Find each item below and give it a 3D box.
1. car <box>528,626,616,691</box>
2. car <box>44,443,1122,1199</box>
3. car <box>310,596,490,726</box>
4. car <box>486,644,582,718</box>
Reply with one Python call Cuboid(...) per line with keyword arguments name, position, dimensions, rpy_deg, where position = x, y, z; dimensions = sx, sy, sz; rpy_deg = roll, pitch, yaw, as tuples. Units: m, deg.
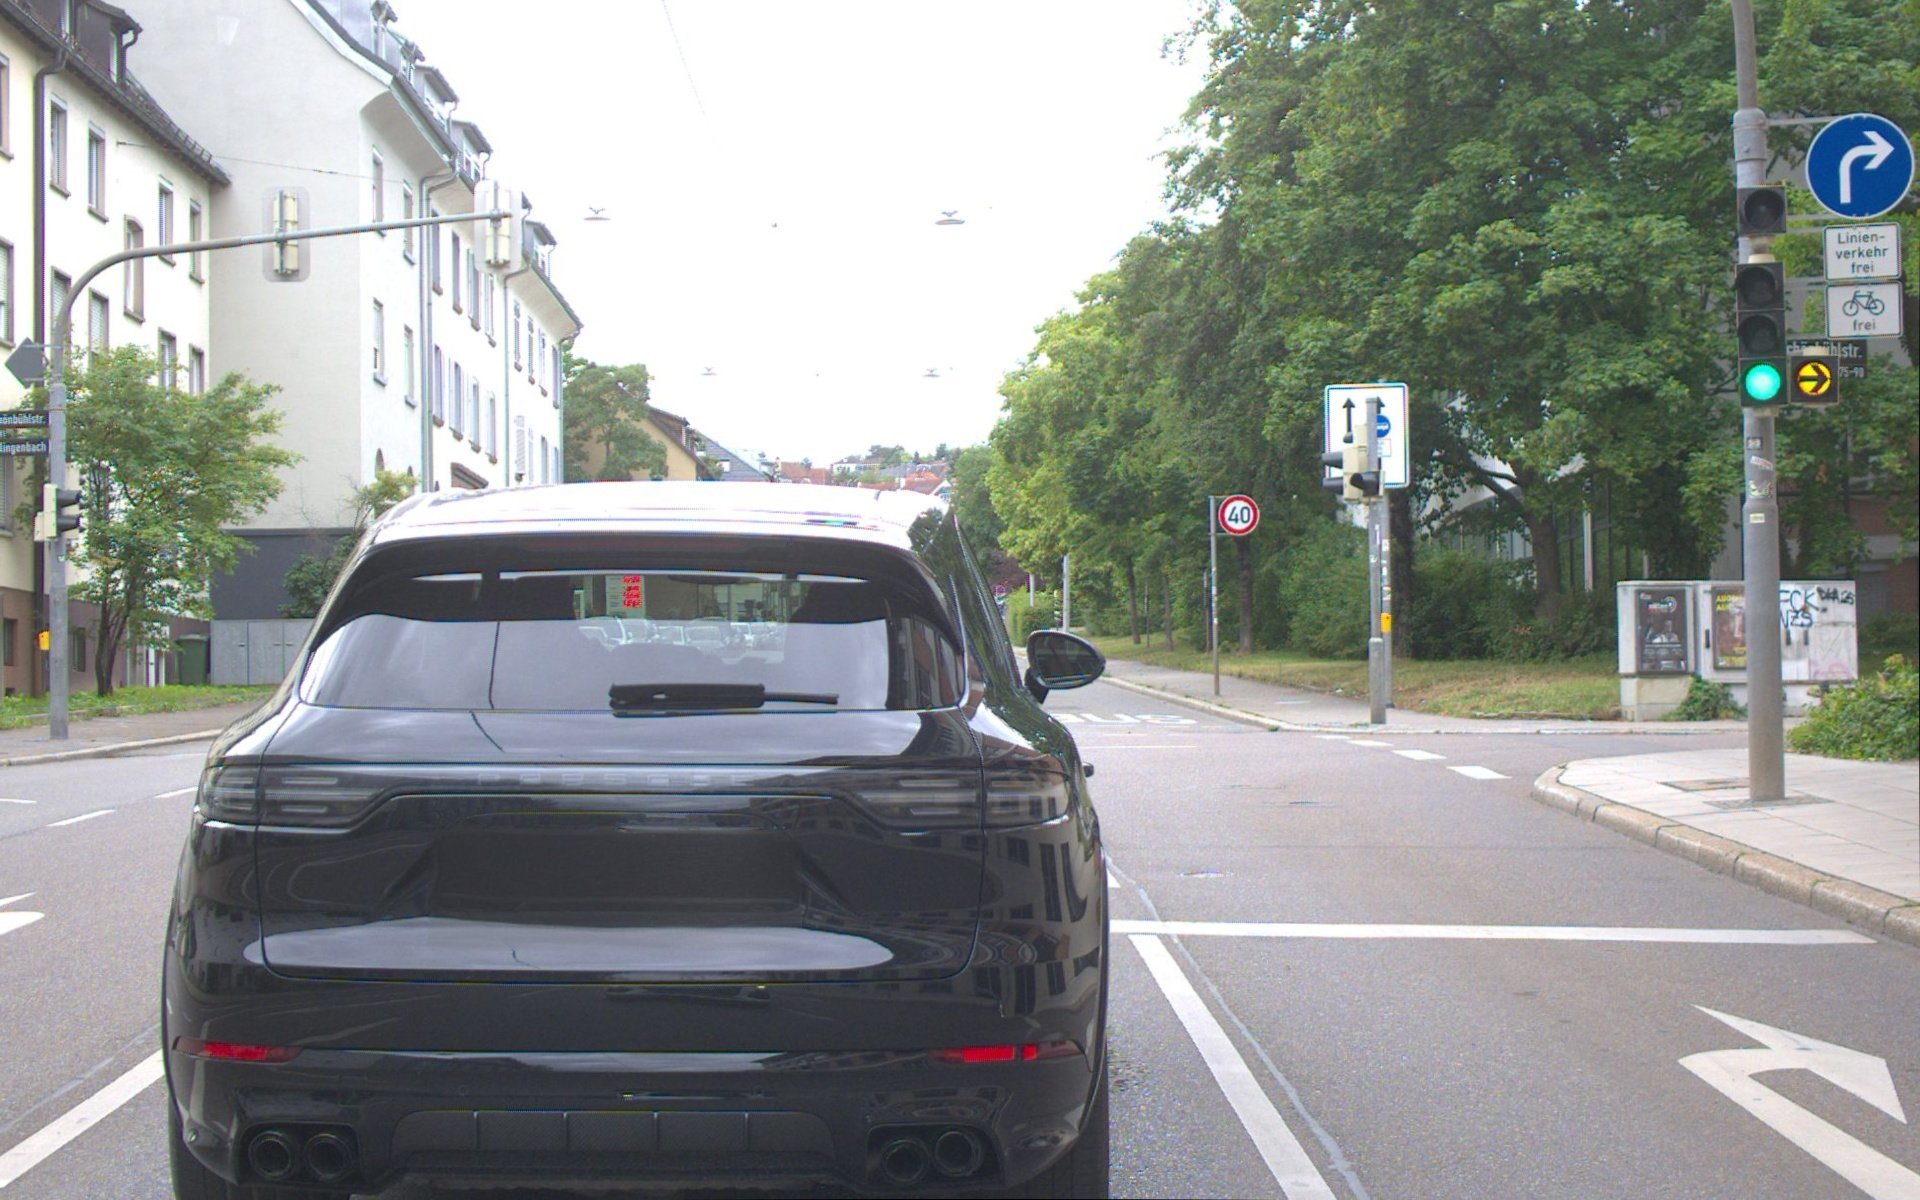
Cuboid(name="car", position=(-8.656, 1.293, 76.987), dimensions=(1.670, 1.357, 4.000), rpy_deg=(0, 1, -2))
Cuboid(name="car", position=(-0.728, 0.546, 8.418), dimensions=(1.993, 1.691, 4.000), rpy_deg=(1, 1, -1))
Cuboid(name="car", position=(-7.372, 0.772, 45.561), dimensions=(1.664, 1.514, 3.740), rpy_deg=(-4, 0, 0))
Cuboid(name="car", position=(-8.593, 1.620, 69.574), dimensions=(1.669, 1.357, 4.001), rpy_deg=(0, 1, -3))
